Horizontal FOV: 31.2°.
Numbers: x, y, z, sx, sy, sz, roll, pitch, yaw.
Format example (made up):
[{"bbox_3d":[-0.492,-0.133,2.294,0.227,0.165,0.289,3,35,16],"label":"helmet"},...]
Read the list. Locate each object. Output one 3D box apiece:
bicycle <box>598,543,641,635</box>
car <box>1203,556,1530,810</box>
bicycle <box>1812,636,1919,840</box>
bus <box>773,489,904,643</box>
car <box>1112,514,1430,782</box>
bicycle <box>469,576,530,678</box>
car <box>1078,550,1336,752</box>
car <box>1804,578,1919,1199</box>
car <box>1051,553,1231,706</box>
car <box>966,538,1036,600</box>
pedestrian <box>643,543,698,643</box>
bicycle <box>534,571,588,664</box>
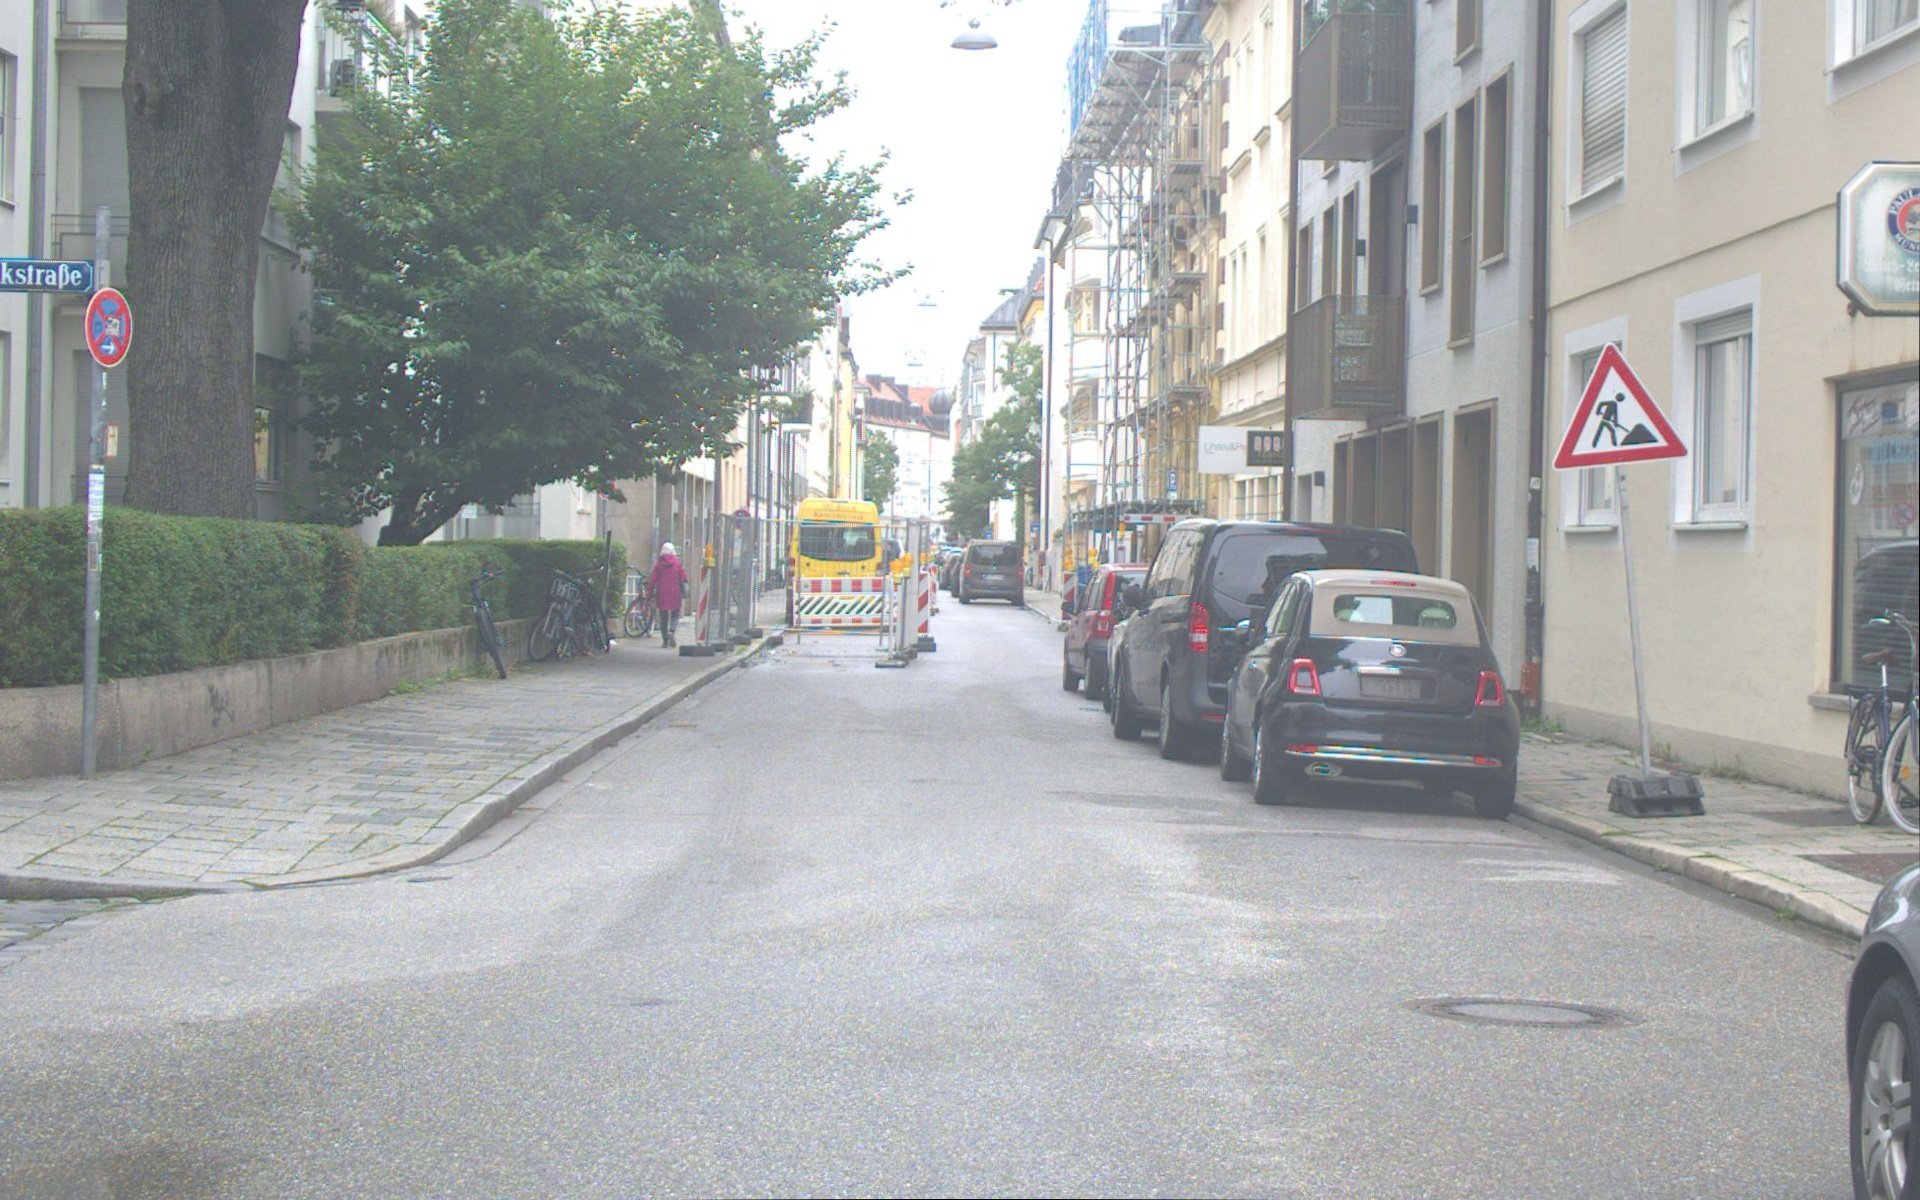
[{"bbox_3d":[-5.300,-0.174,53.613,0.514,1.413,1.934,0,0,-1],"label":"bicycle"},{"bbox_3d":[2.599,0.479,22.742,1.624,1.482,3.808,2,1,-1],"label":"car"},{"bbox_3d":[5.117,0.727,18.752,0.474,1.022,1.705,-1,0,-1],"label":"bicycle"},{"bbox_3d":[-2.501,-0.707,72.544,2.592,3.091,6.306,0,0,-1],"label":"bus"},{"bbox_3d":[2.362,0.316,27.099,1.801,1.814,4.001,5,1,-3],"label":"car"},{"bbox_3d":[-4.716,0.259,35.278,0.414,1.017,1.854,0,0,-1],"label":"bicycle"},{"bbox_3d":[2.169,0.402,31.195,1.801,1.562,4.000,5,1,-2],"label":"car"},{"bbox_3d":[2.902,0.727,5.912,1.744,1.440,4.000,2,1,-2],"label":"car"},{"bbox_3d":[1.998,0.290,38.981,1.635,1.509,3.829,5,1,-1],"label":"car"},{"bbox_3d":[1.225,-0.959,104.832,1.801,1.706,3.827,5,1,-3],"label":"car"},{"bbox_3d":[-4.358,-0.105,51.735,0.756,1.486,0.831,0,0,-1],"label":"pedestrian"},{"bbox_3d":[-4.730,0.192,40.815,0.446,1.069,2.468,0,0,-2],"label":"bicycle"}]
